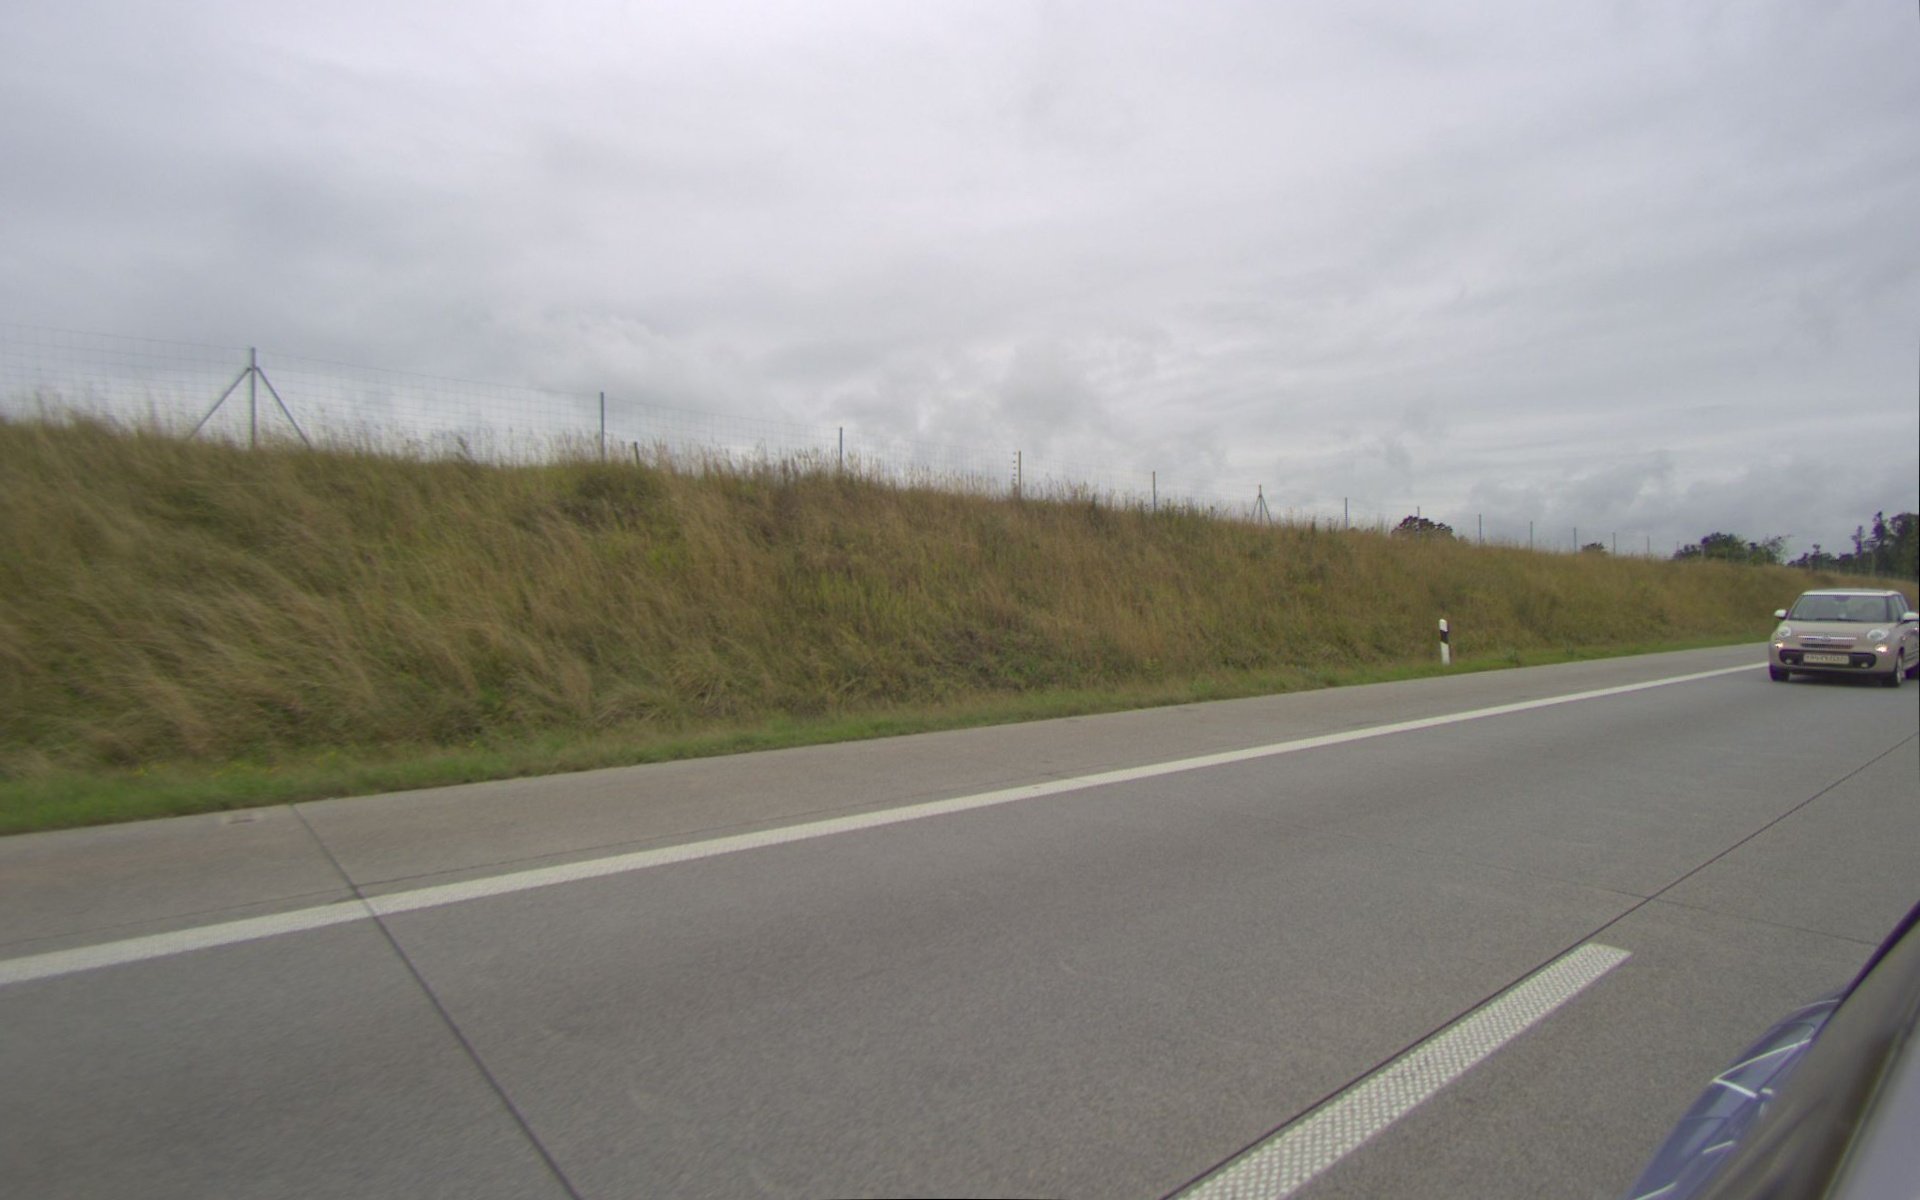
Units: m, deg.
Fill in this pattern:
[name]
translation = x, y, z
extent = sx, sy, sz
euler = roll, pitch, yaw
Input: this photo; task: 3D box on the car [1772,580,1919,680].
[car]
translation = 16.528, 0.493, 18.525
extent = 4.489, 1.625, 1.789
euler = 1, 0, -40
